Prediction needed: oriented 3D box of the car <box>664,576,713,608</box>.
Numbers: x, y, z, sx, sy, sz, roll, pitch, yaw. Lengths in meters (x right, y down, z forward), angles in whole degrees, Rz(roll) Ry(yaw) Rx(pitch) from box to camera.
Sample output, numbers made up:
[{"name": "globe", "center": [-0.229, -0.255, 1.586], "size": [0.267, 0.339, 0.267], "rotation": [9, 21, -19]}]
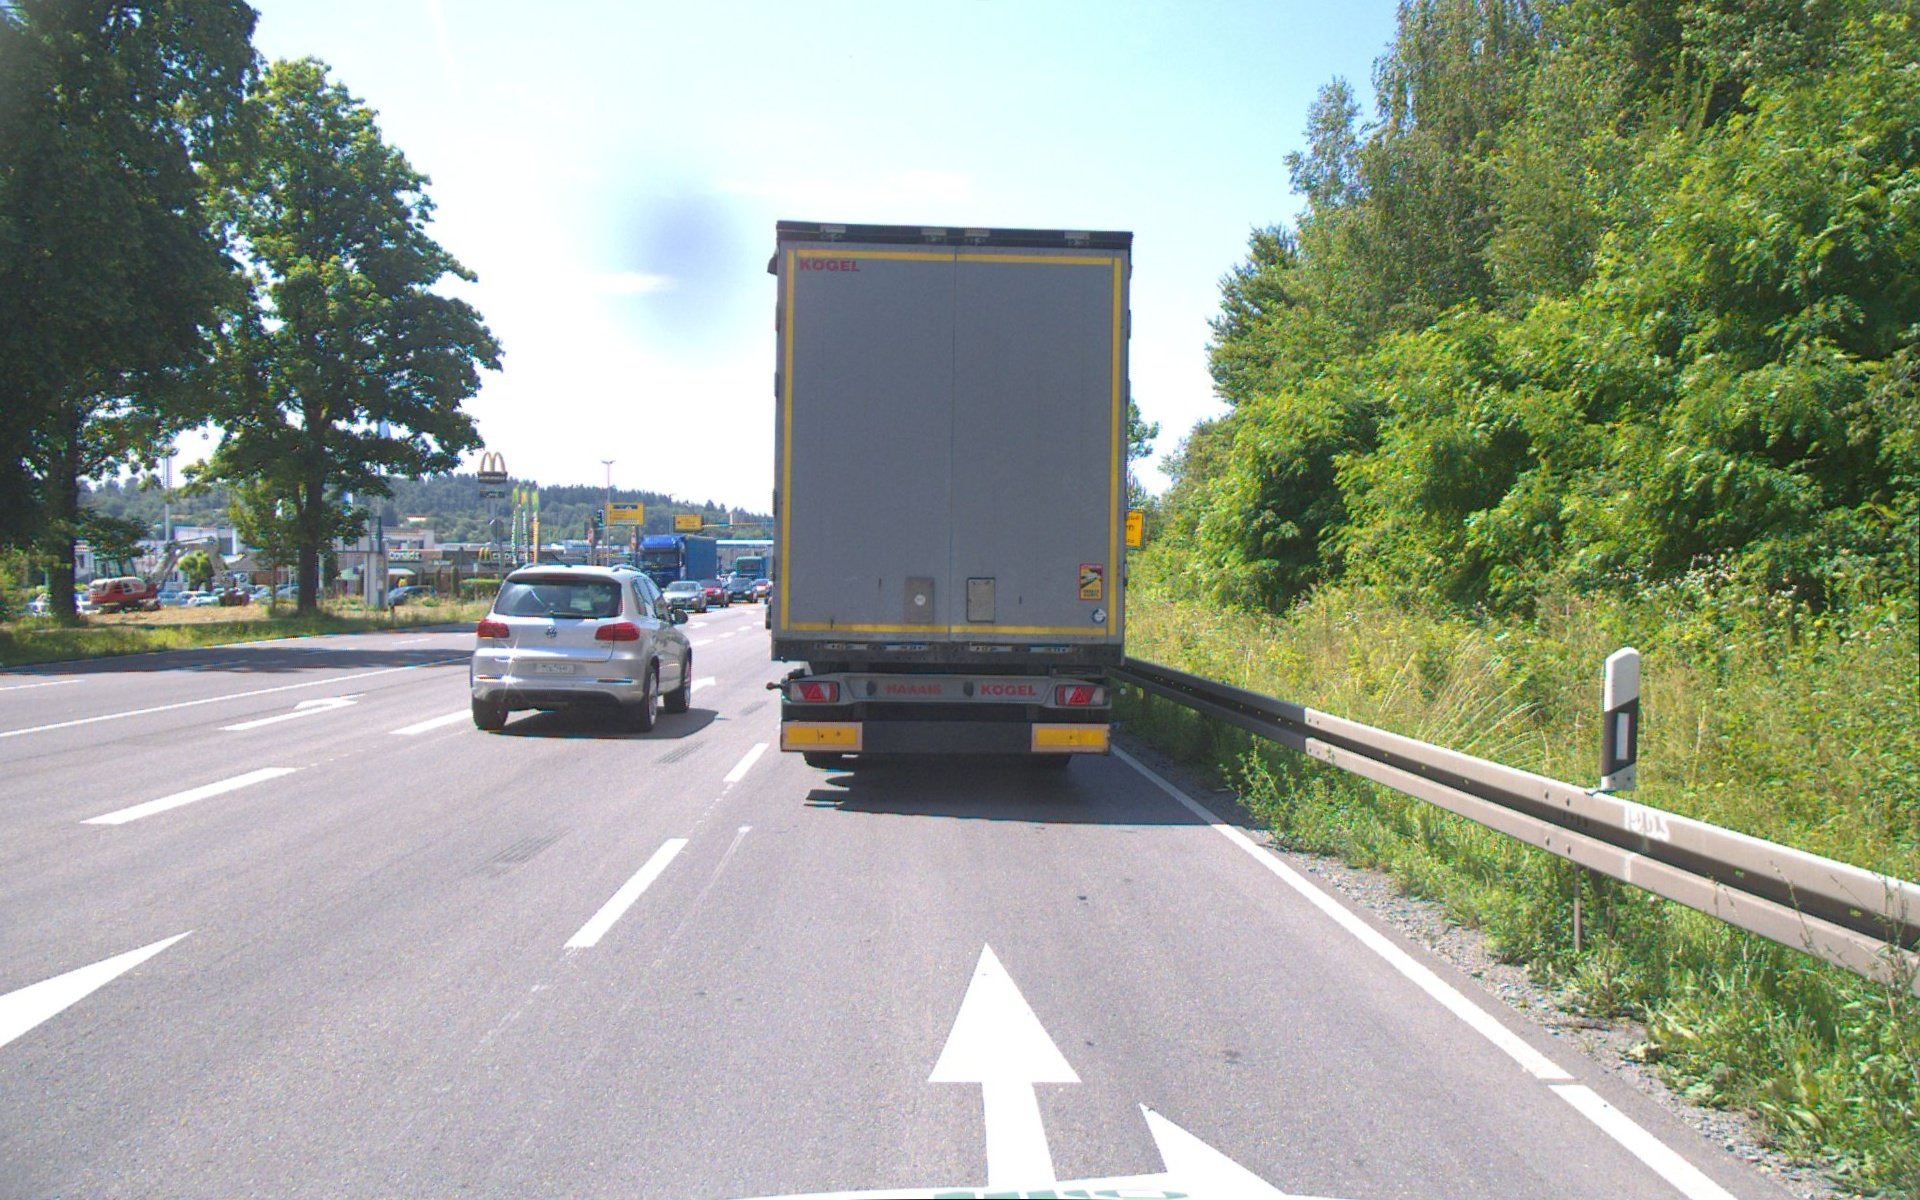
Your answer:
[{"name": "car", "center": [-12.406, -0.351, 75.828], "size": [1.731, 1.410, 3.998], "rotation": [1, 0, -3]}]

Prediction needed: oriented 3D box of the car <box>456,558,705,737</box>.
[{"name": "car", "center": [-4.018, 0.439, 18.220], "size": [1.768, 1.699, 4.291], "rotation": [1, 0, -1]}]

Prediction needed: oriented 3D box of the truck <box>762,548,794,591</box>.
[{"name": "truck", "center": [-19.688, -3.177, 178.067], "size": [3.086, 4.425, 17.513], "rotation": [0, 0, -7]}]

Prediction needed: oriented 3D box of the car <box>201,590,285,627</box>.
[{"name": "car", "center": [-34.582, 0.399, 79.780], "size": [3.920, 1.680, 1.993], "rotation": [1, 0, 36]}]

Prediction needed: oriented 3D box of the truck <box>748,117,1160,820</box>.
[{"name": "truck", "center": [-0.151, -0.847, 19.598], "size": [2.699, 4.720, 16.651], "rotation": [1, 0, -1]}]

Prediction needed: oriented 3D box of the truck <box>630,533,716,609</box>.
[{"name": "truck", "center": [-17.279, -1.693, 100.859], "size": [2.908, 4.249, 16.569], "rotation": [0, 0, -2]}]

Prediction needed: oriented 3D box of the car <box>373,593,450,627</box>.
[{"name": "car", "center": [-28.350, 0.497, 85.447], "size": [3.920, 1.646, 1.833], "rotation": [1, 0, 36]}]

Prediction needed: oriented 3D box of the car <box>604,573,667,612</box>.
[{"name": "car", "center": [-12.238, -0.268, 62.561], "size": [1.731, 1.410, 3.998], "rotation": [1, 0, -3]}]

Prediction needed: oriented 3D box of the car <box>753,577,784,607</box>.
[{"name": "car", "center": [-13.418, -0.577, 115.904], "size": [1.737, 2.049, 3.999], "rotation": [0, 0, -1]}]

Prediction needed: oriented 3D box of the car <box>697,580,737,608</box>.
[{"name": "car", "center": [-13.101, -0.336, 89.486], "size": [1.608, 1.463, 4.016], "rotation": [0, 1, -1]}]

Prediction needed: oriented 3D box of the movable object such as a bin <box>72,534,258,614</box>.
[{"name": "movable object such as a bin", "center": [-34.642, -1.128, 72.293], "size": [2.994, 3.356, 6.760], "rotation": [1, 1, 38]}]

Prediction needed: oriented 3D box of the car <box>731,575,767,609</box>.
[{"name": "car", "center": [-13.020, -0.514, 102.069], "size": [1.737, 2.049, 3.999], "rotation": [1, 0, -1]}]

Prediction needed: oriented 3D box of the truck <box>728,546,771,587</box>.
[{"name": "truck", "center": [-18.292, -2.864, 144.320], "size": [2.789, 3.410, 11.476], "rotation": [0, 0, -3]}]

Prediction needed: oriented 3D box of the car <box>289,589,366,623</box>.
[{"name": "car", "center": [-32.006, 0.295, 83.679], "size": [3.920, 1.646, 1.833], "rotation": [1, 0, 36]}]

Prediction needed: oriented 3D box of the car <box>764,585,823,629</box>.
[{"name": "car", "center": [-5.557, 0.228, 55.631], "size": [1.652, 1.423, 4.402], "rotation": [0, 0, -1]}]

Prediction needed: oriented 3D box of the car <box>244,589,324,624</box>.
[{"name": "car", "center": [-33.385, 0.311, 81.664], "size": [3.920, 1.646, 1.833], "rotation": [1, 0, 36]}]
